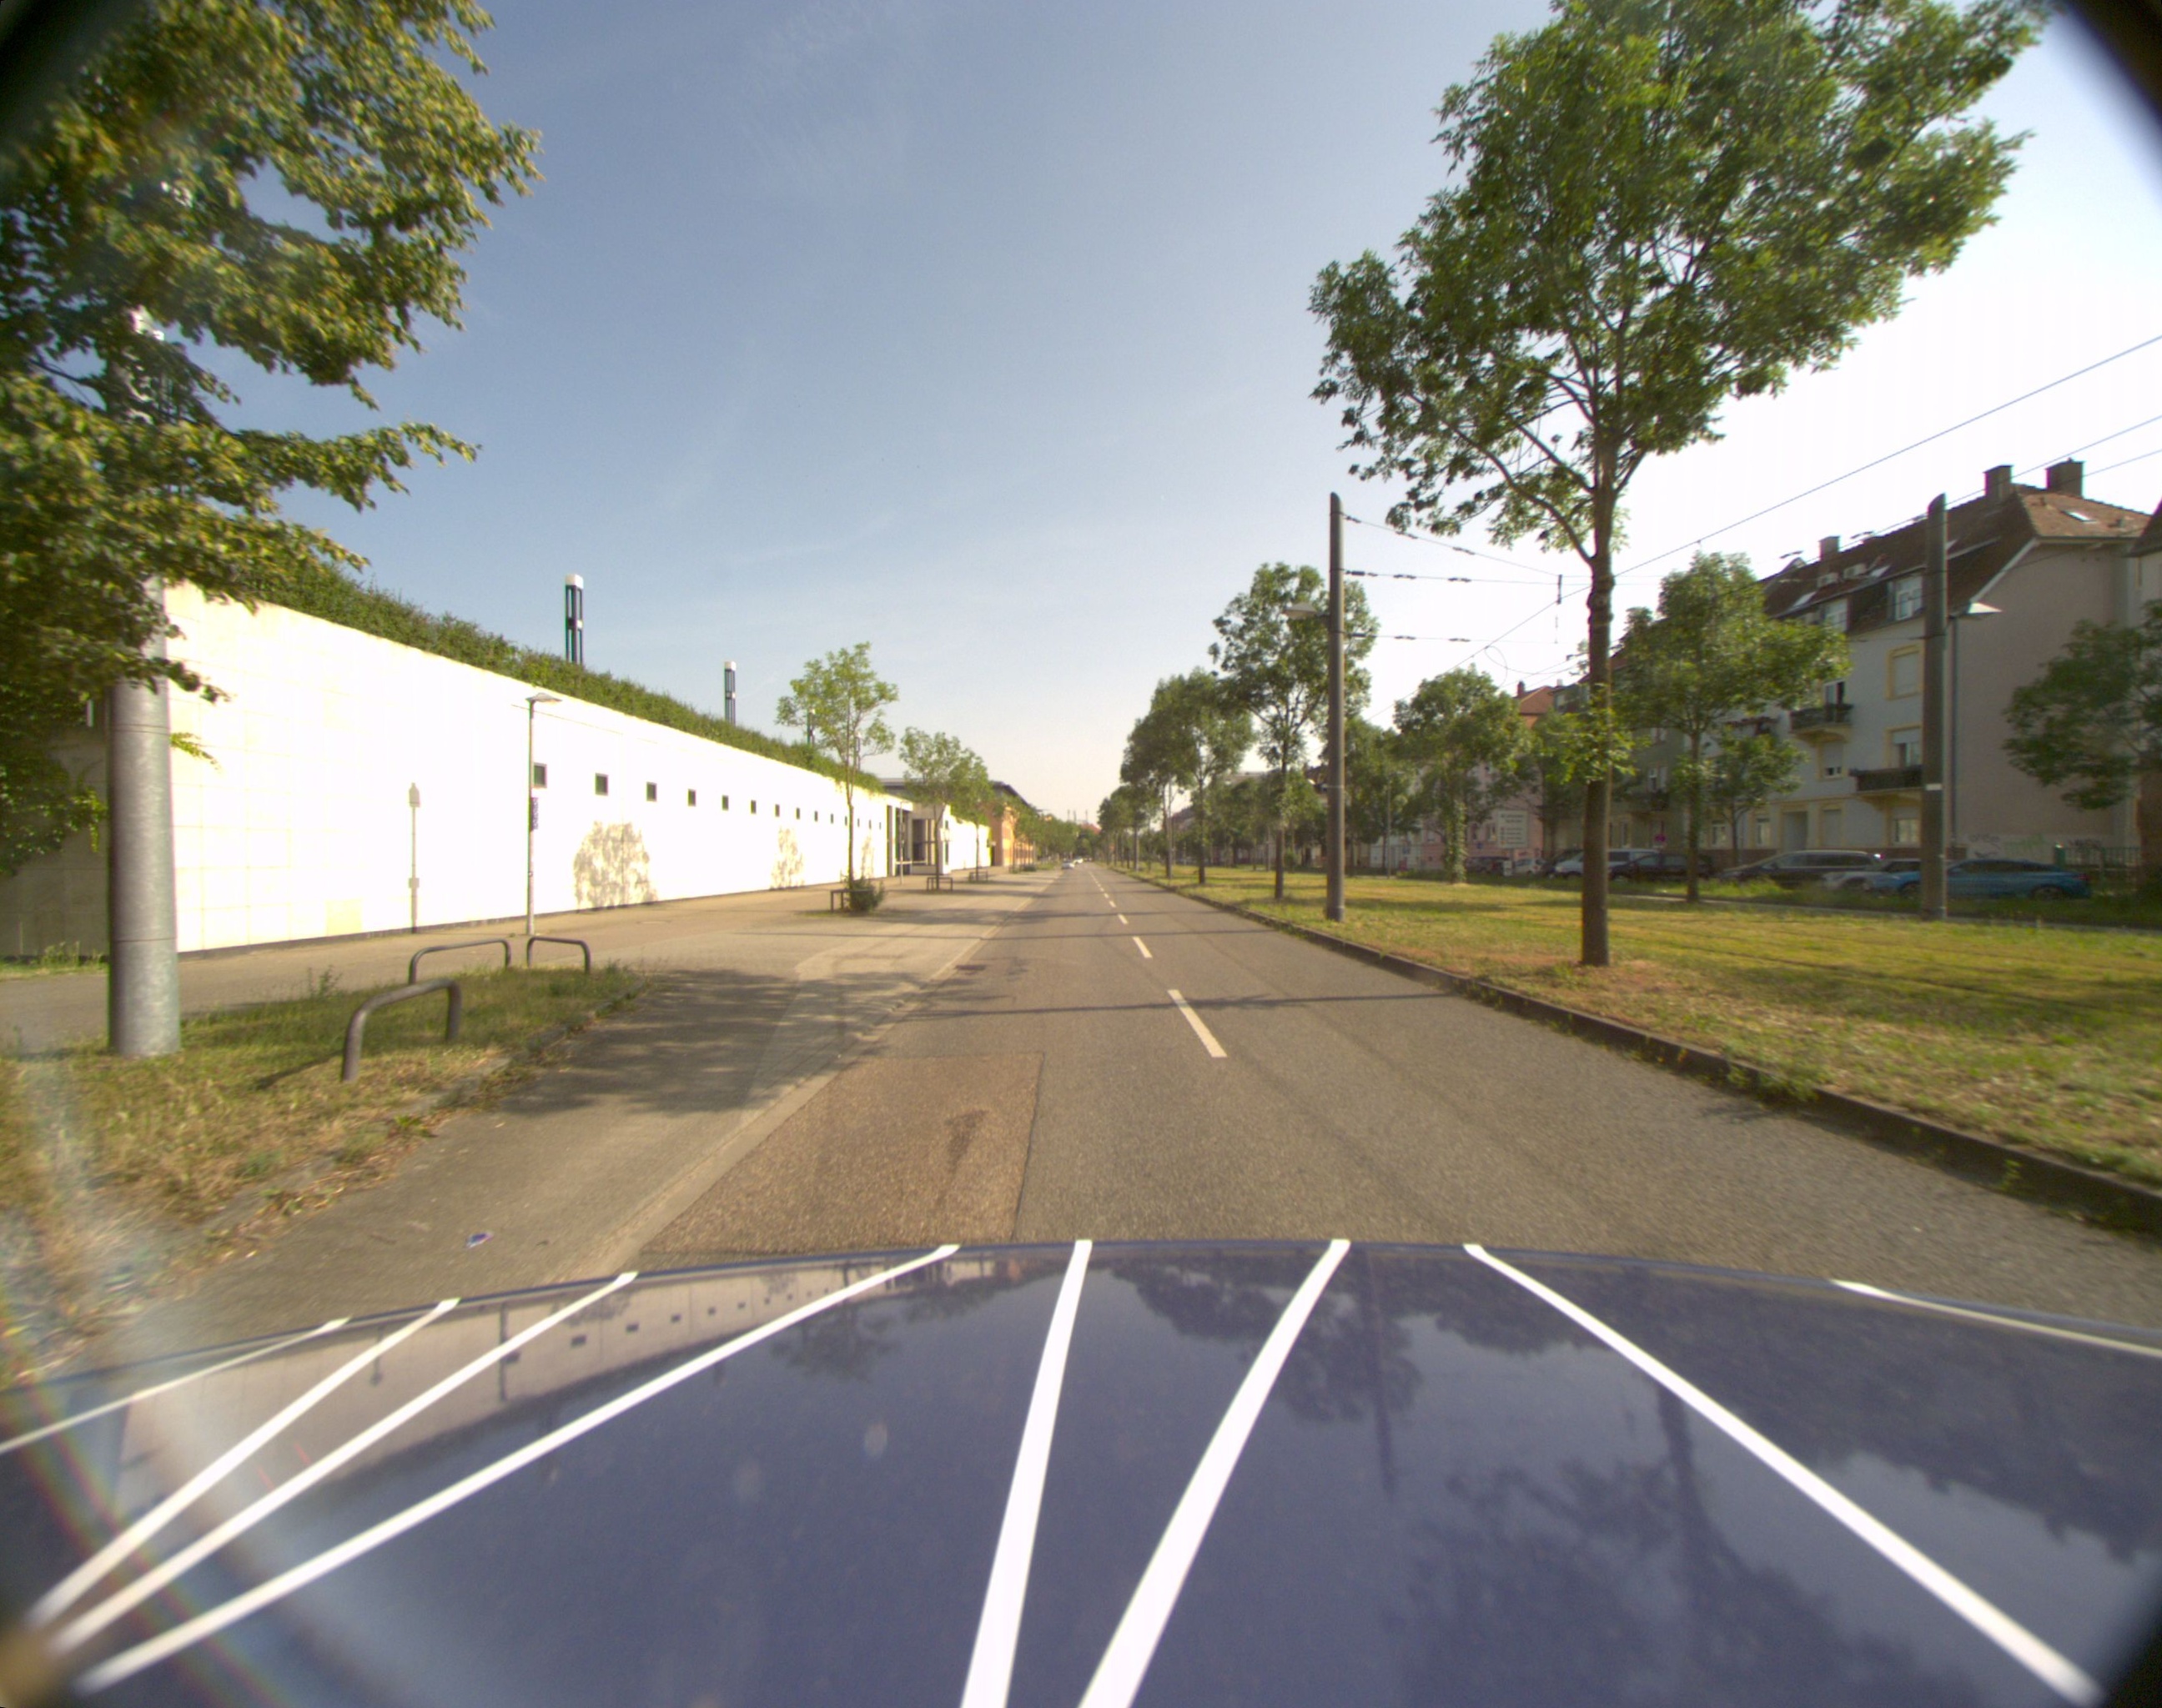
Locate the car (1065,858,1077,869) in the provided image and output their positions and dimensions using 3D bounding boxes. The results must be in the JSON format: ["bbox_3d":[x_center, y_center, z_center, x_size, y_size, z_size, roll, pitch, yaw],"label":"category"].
[{"bbox_3d":[-1.495,1.366,113.213,1.629,1.476,3.365,-3,1,-1],"label":"car"}]

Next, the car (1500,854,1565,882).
[{"bbox_3d":[29.607,0.874,50.014,1.894,1.619,4.156,-3,0,2],"label":"car"}]

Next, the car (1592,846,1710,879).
[{"bbox_3d":[27.493,0.432,36.850,4.464,1.411,1.979,-2,1,35],"label":"car"}]

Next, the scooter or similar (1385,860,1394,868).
[{"bbox_3d":[32.329,1.022,79.666,0.605,0.808,1.222,-2,1,11],"label":"scooter or similar"}]

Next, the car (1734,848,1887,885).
[{"bbox_3d":[28.009,0.490,29.352,3.989,1.261,1.641,-2,1,33],"label":"car"}]

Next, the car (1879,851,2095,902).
[{"bbox_3d":[27.714,0.715,23.448,3.989,1.409,1.580,-2,1,33],"label":"car"}]

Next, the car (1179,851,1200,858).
[{"bbox_3d":[28.324,0.075,198.601,4.939,1.716,1.860,-2,1,35],"label":"car"}]

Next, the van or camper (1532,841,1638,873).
[{"bbox_3d":[28.319,0.175,42.864,4.837,1.614,2.006,-2,1,33],"label":"van or camper"}]

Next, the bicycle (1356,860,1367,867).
[{"bbox_3d":[32.797,1.106,88.872,0.448,0.852,1.947,-3,1,-1],"label":"bicycle"}]

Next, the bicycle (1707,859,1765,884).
[{"bbox_3d":[28.493,0.745,33.070,0.467,1.043,2.000,-3,1,-13],"label":"bicycle"}]

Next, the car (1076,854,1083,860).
[{"bbox_3d":[-0.398,0.864,200.336,1.693,1.476,3.365,-3,1,-1],"label":"car"}]

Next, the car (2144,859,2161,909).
[{"bbox_3d":[27.086,0.695,17.221,3.156,1.154,1.499,-2,1,33],"label":"car"}]

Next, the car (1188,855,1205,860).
[{"bbox_3d":[28.218,0.838,185.243,3.677,1.234,1.665,-2,1,35],"label":"car"}]

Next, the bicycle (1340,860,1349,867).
[{"bbox_3d":[33.013,1.142,95.184,0.438,0.784,1.947,-3,1,-1],"label":"bicycle"}]

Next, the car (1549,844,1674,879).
[{"bbox_3d":[27.688,0.416,39.913,5.208,1.614,2.060,-2,1,31],"label":"car"}]

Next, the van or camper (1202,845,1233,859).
[{"bbox_3d":[28.537,-0.374,159.065,5.910,2.559,2.203,-2,1,35],"label":"van or camper"}]

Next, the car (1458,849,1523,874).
[{"bbox_3d":[29.904,0.528,55.662,1.999,1.619,4.774,-3,0,-1],"label":"car"}]

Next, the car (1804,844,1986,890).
[{"bbox_3d":[27.729,0.457,26.076,3.989,1.409,1.580,-2,1,35],"label":"car"}]
